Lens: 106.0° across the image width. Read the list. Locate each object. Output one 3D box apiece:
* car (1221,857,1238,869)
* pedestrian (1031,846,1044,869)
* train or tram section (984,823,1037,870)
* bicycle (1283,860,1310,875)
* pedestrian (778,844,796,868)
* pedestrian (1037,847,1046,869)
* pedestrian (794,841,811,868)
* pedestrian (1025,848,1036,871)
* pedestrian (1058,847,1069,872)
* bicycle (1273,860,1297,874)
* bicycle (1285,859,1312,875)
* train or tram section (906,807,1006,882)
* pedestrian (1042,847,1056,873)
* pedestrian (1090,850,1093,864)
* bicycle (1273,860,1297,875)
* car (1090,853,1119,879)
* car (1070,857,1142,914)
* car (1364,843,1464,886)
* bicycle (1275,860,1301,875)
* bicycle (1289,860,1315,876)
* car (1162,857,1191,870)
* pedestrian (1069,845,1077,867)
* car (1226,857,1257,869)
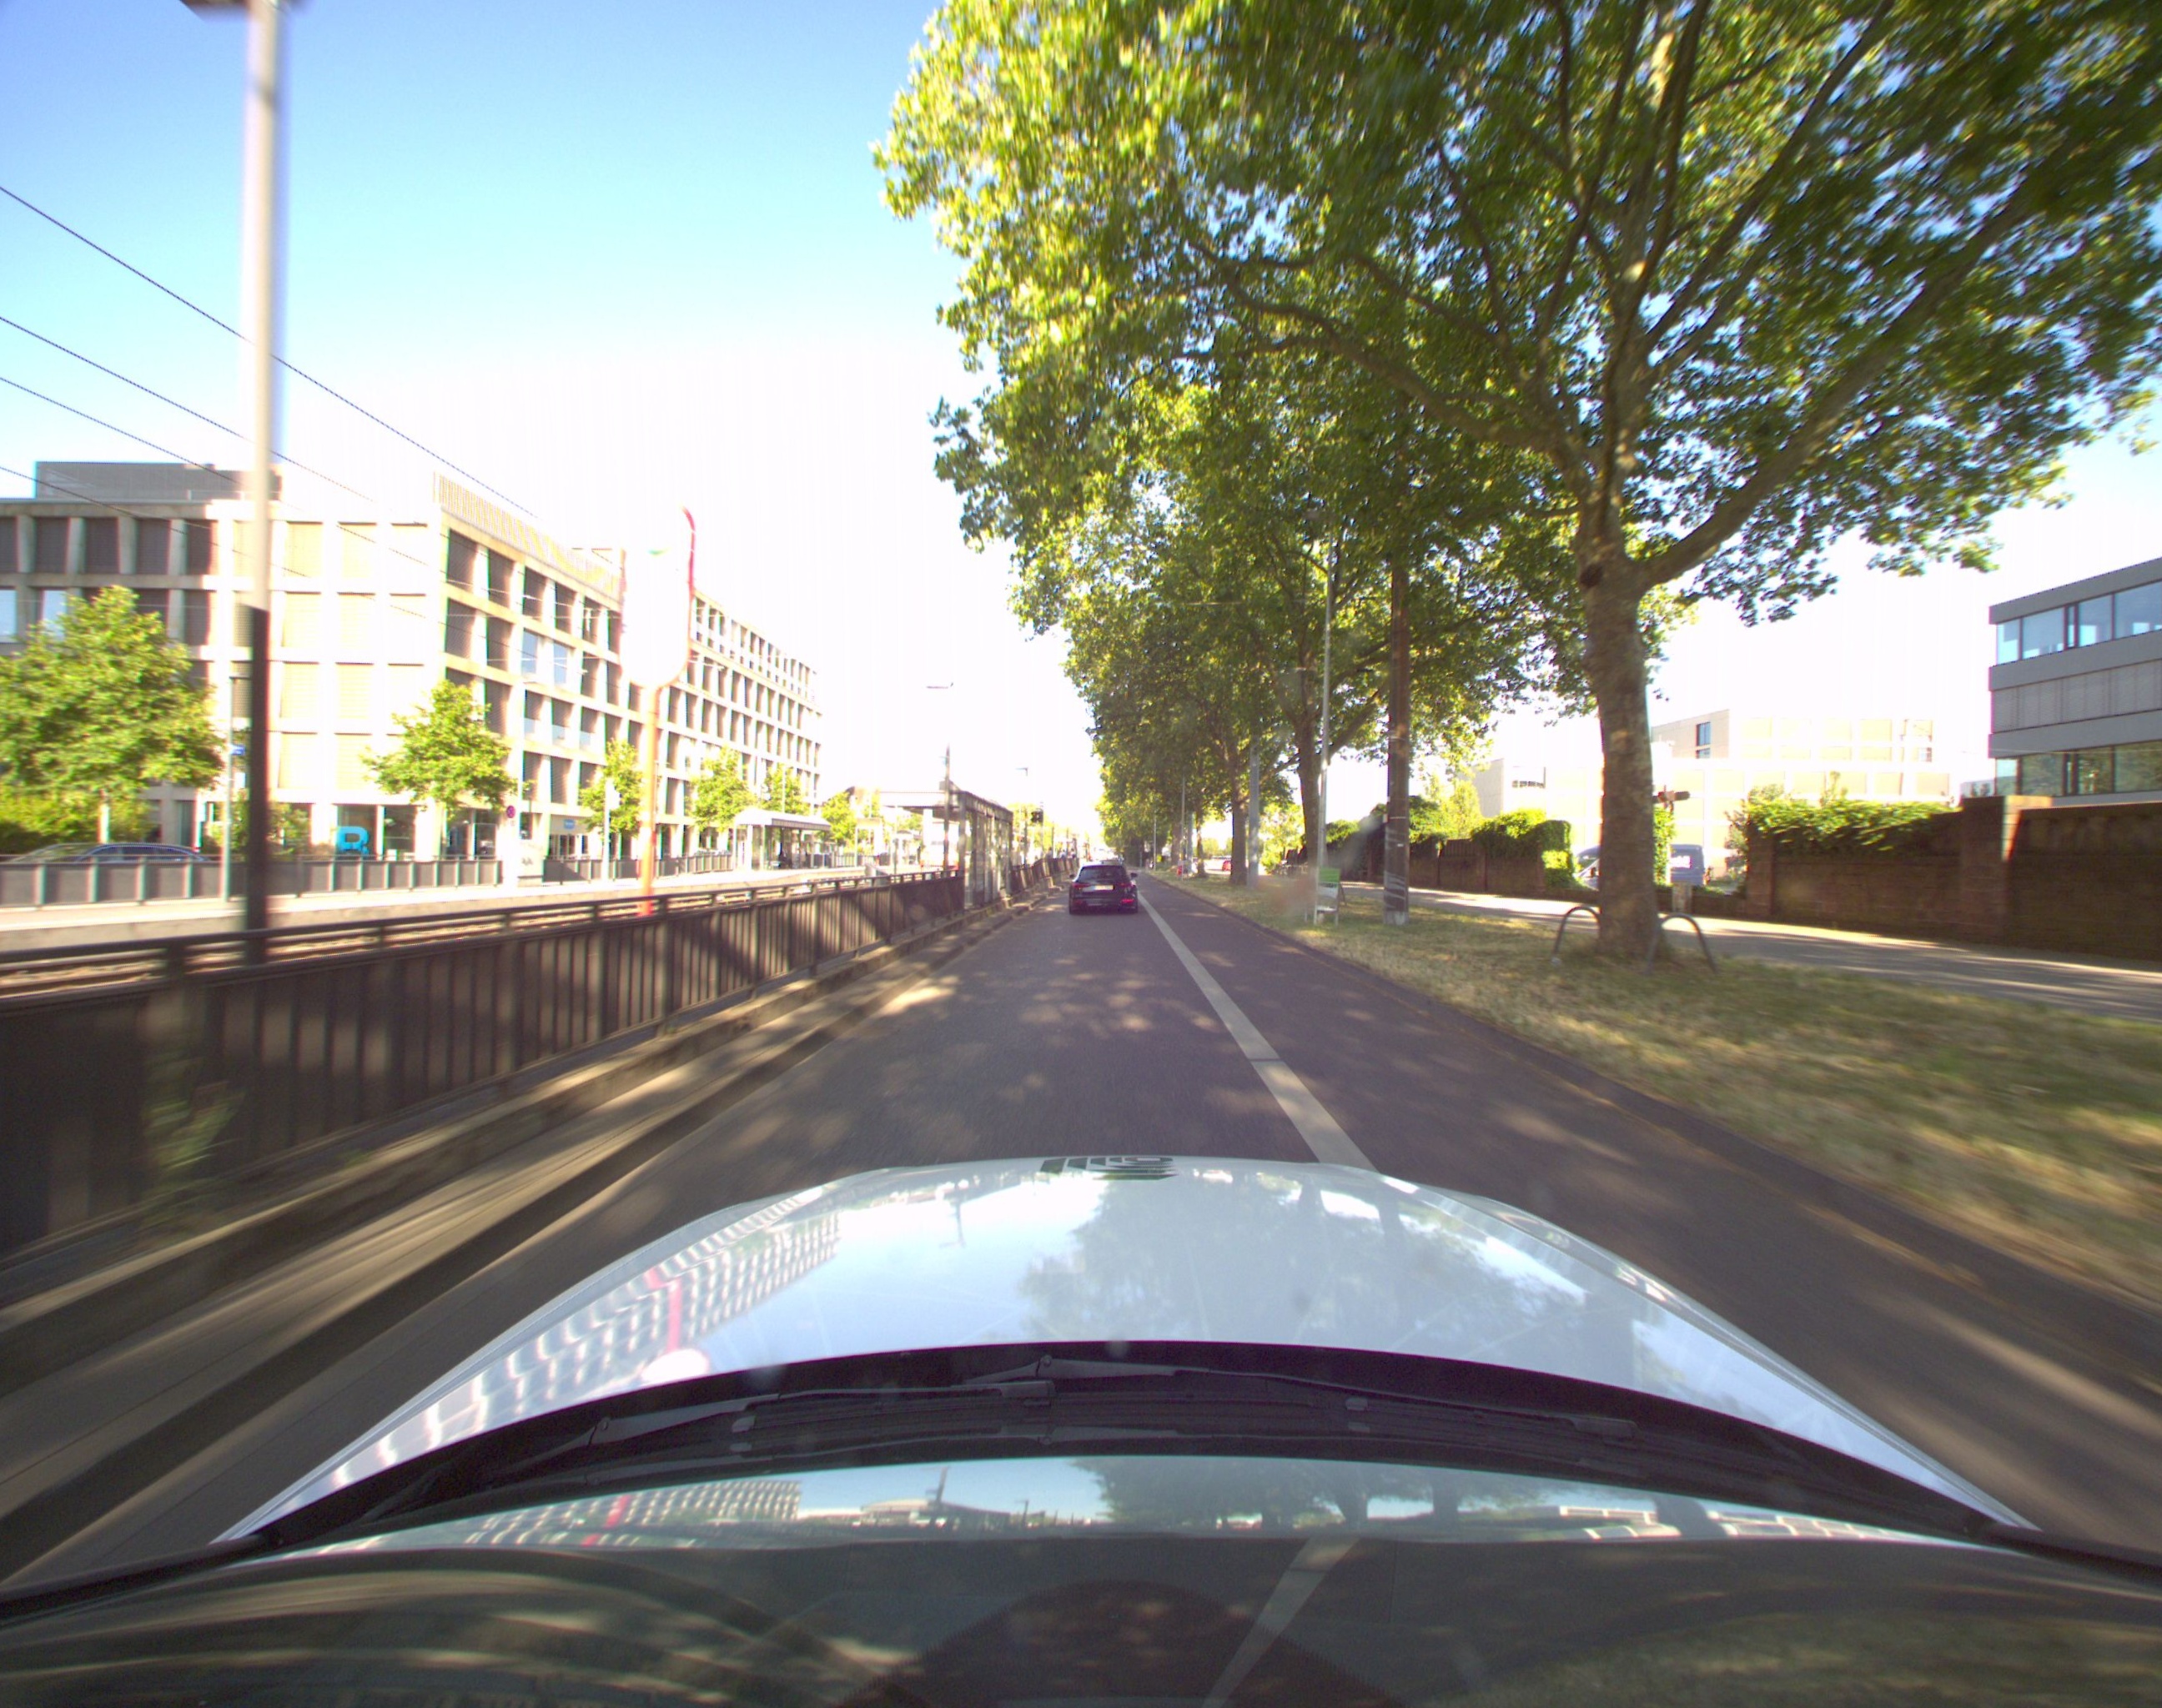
[{"bbox_3d":[19.349,1.104,106.062,1.608,1.515,3.805,1,0,2],"label":"car"},{"bbox_3d":[-3.384,0.254,63.291,0.799,1.784,0.642,1,-1,-38],"label":"pedestrian"},{"bbox_3d":[-6.230,-0.624,74.131,3.296,3.829,11.849,1,0,2],"label":"train or tram section"},{"bbox_3d":[15.574,0.981,58.859,1.767,1.120,0.439,0,-1,1],"label":"bicycle"},{"bbox_3d":[-15.751,0.109,43.608,0.611,1.260,0.725,1,0,6],"label":"pedestrian"},{"bbox_3d":[-3.233,0.312,66.340,0.609,1.784,0.775,1,-1,2],"label":"pedestrian"},{"bbox_3d":[-15.775,0.025,46.197,0.610,1.527,0.726,1,-1,10],"label":"pedestrian"},{"bbox_3d":[-3.948,0.407,63.982,0.790,1.784,0.626,1,-1,2],"label":"pedestrian"},{"bbox_3d":[-1.166,0.362,54.483,0.609,1.668,0.614,1,-1,4],"label":"pedestrian"},{"bbox_3d":[15.816,0.995,63.122,1.767,1.120,0.439,0,-1,1],"label":"bicycle"},{"bbox_3d":[15.454,0.919,57.912,1.767,1.120,0.439,0,-1,1],"label":"bicycle"},{"bbox_3d":[-7.128,-0.462,49.258,3.296,3.829,14.225,1,0,2],"label":"train or tram section"},{"bbox_3d":[-1.901,0.364,48.721,0.610,1.549,0.727,1,-1,12],"label":"pedestrian"},{"bbox_3d":[1.318,0.374,103.853,0.410,1.717,0.666,1,-1,2],"label":"pedestrian"},{"bbox_3d":[15.549,0.998,62.082,1.767,1.120,0.439,0,-1,1],"label":"bicycle"},{"bbox_3d":[1.505,0.780,53.629,1.757,1.619,3.999,1,0,0],"label":"car"},{"bbox_3d":[0.662,0.818,22.934,1.872,1.457,3.356,-1,0,0],"label":"car"},{"bbox_3d":[20.889,0.659,51.217,5.441,2.490,2.001,2,0,1],"label":"car"},{"bbox_3d":[15.498,1.001,60.996,1.767,1.120,0.439,0,-1,1],"label":"bicycle"},{"bbox_3d":[15.410,0.983,56.845,1.681,1.120,0.439,0,-1,1],"label":"bicycle"},{"bbox_3d":[13.479,1.313,114.898,3.971,1.764,1.834,1,-1,2],"label":"car"},{"bbox_3d":[-0.676,0.189,66.836,0.609,1.784,0.614,1,-1,2],"label":"pedestrian"},{"bbox_3d":[24.259,1.354,123.080,4.436,1.658,1.921,1,0,6],"label":"car"}]
